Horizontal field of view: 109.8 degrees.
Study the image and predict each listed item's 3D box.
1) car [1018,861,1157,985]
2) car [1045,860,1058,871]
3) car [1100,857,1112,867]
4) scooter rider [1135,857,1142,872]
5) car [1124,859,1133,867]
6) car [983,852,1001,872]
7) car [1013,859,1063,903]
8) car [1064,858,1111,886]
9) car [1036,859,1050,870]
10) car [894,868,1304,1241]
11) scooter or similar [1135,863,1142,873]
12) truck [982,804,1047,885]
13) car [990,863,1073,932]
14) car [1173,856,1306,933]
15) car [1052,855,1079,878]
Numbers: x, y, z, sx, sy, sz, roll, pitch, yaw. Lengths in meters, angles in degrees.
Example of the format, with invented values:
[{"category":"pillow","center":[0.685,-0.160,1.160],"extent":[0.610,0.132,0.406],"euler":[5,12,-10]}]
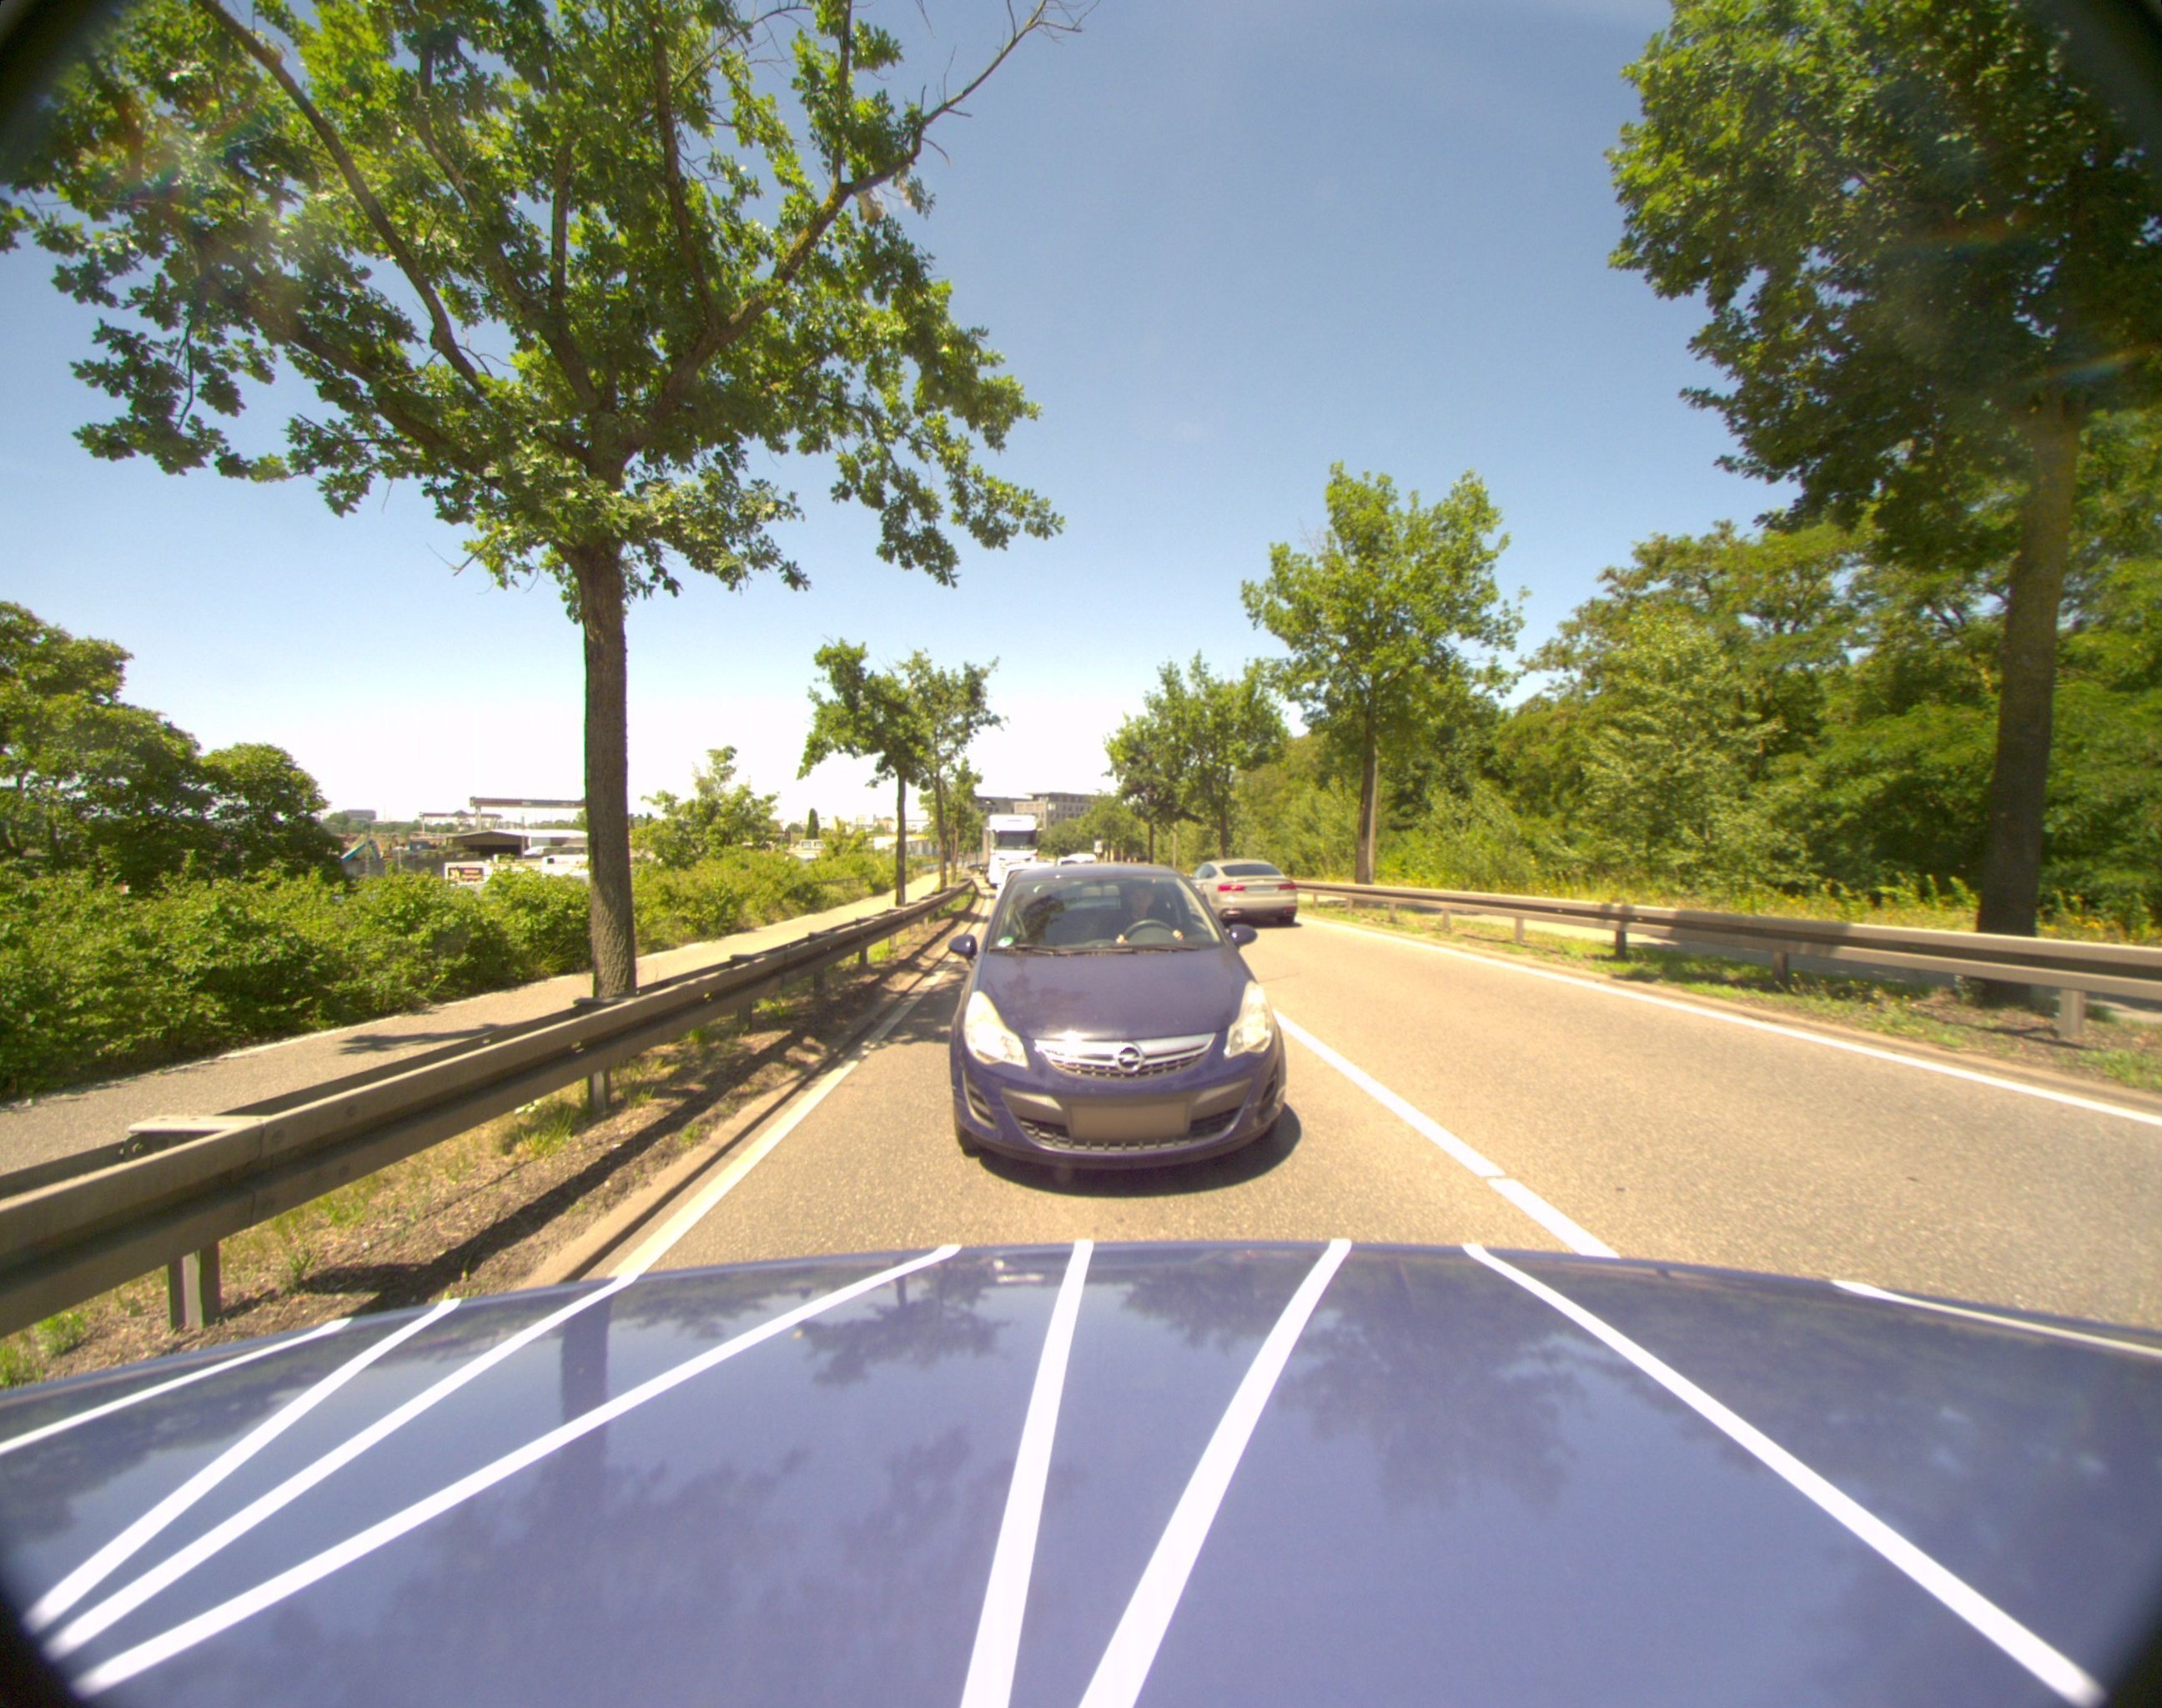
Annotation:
[{"category":"car","center":[0.077,0.924,11.920],"extent":[1.780,1.498,3.896],"euler":[-2,0,0]},{"category":"car","center":[-3.954,1.514,101.016],"extent":[1.561,1.364,3.887],"euler":[-2,0,-3]},{"category":"car","center":[4.086,1.308,122.936],"extent":[1.753,1.546,4.127],"euler":[-2,0,3]},{"category":"scooter rider","center":[6.745,1.199,88.934],"extent":[0.778,1.648,1.121],"euler":[-2,1,6]},{"category":"car","center":[9.609,1.744,153.706],"extent":[1.873,1.594,4.394],"euler":[-2,0,3]},{"category":"car","center":[-9.248,0.823,78.812],"extent":[1.781,2.002,3.997],"euler":[-2,0,-8]},{"category":"car","center":[-1.836,1.058,31.322],"extent":[1.781,1.569,3.997],"euler":[-2,0,-6]},{"category":"car","center":[0.313,0.960,42.369],"extent":[1.825,1.413,4.462],"euler":[-2,0,-10]},{"category":"car","center":[-7.128,2.027,143.749],"extent":[1.779,2.002,4.002],"euler":[-2,0,9]},{"category":"car","center":[0.062,0.903,5.202],"extent":[1.720,1.455,3.837],"euler":[-2,0,-1]},{"category":"scooter or similar","center":[6.768,1.637,88.944],"extent":[0.778,1.085,1.095],"euler":[-2,1,4]},{"category":"truck","center":[-4.536,-0.515,47.881],"extent":[3.072,4.146,16.898],"euler":[-2,0,-8]},{"category":"car","center":[-1.212,0.981,18.720],"extent":[1.781,1.398,3.998],"euler":[-2,0,-4]},{"category":"car","center":[3.331,0.781,16.851],"extent":[1.764,1.388,4.404],"euler":[-2,0,-3]},{"category":"car","center":[-1.326,0.972,62.947],"extent":[1.751,1.753,4.386],"euler":[-2,0,-6]}]
